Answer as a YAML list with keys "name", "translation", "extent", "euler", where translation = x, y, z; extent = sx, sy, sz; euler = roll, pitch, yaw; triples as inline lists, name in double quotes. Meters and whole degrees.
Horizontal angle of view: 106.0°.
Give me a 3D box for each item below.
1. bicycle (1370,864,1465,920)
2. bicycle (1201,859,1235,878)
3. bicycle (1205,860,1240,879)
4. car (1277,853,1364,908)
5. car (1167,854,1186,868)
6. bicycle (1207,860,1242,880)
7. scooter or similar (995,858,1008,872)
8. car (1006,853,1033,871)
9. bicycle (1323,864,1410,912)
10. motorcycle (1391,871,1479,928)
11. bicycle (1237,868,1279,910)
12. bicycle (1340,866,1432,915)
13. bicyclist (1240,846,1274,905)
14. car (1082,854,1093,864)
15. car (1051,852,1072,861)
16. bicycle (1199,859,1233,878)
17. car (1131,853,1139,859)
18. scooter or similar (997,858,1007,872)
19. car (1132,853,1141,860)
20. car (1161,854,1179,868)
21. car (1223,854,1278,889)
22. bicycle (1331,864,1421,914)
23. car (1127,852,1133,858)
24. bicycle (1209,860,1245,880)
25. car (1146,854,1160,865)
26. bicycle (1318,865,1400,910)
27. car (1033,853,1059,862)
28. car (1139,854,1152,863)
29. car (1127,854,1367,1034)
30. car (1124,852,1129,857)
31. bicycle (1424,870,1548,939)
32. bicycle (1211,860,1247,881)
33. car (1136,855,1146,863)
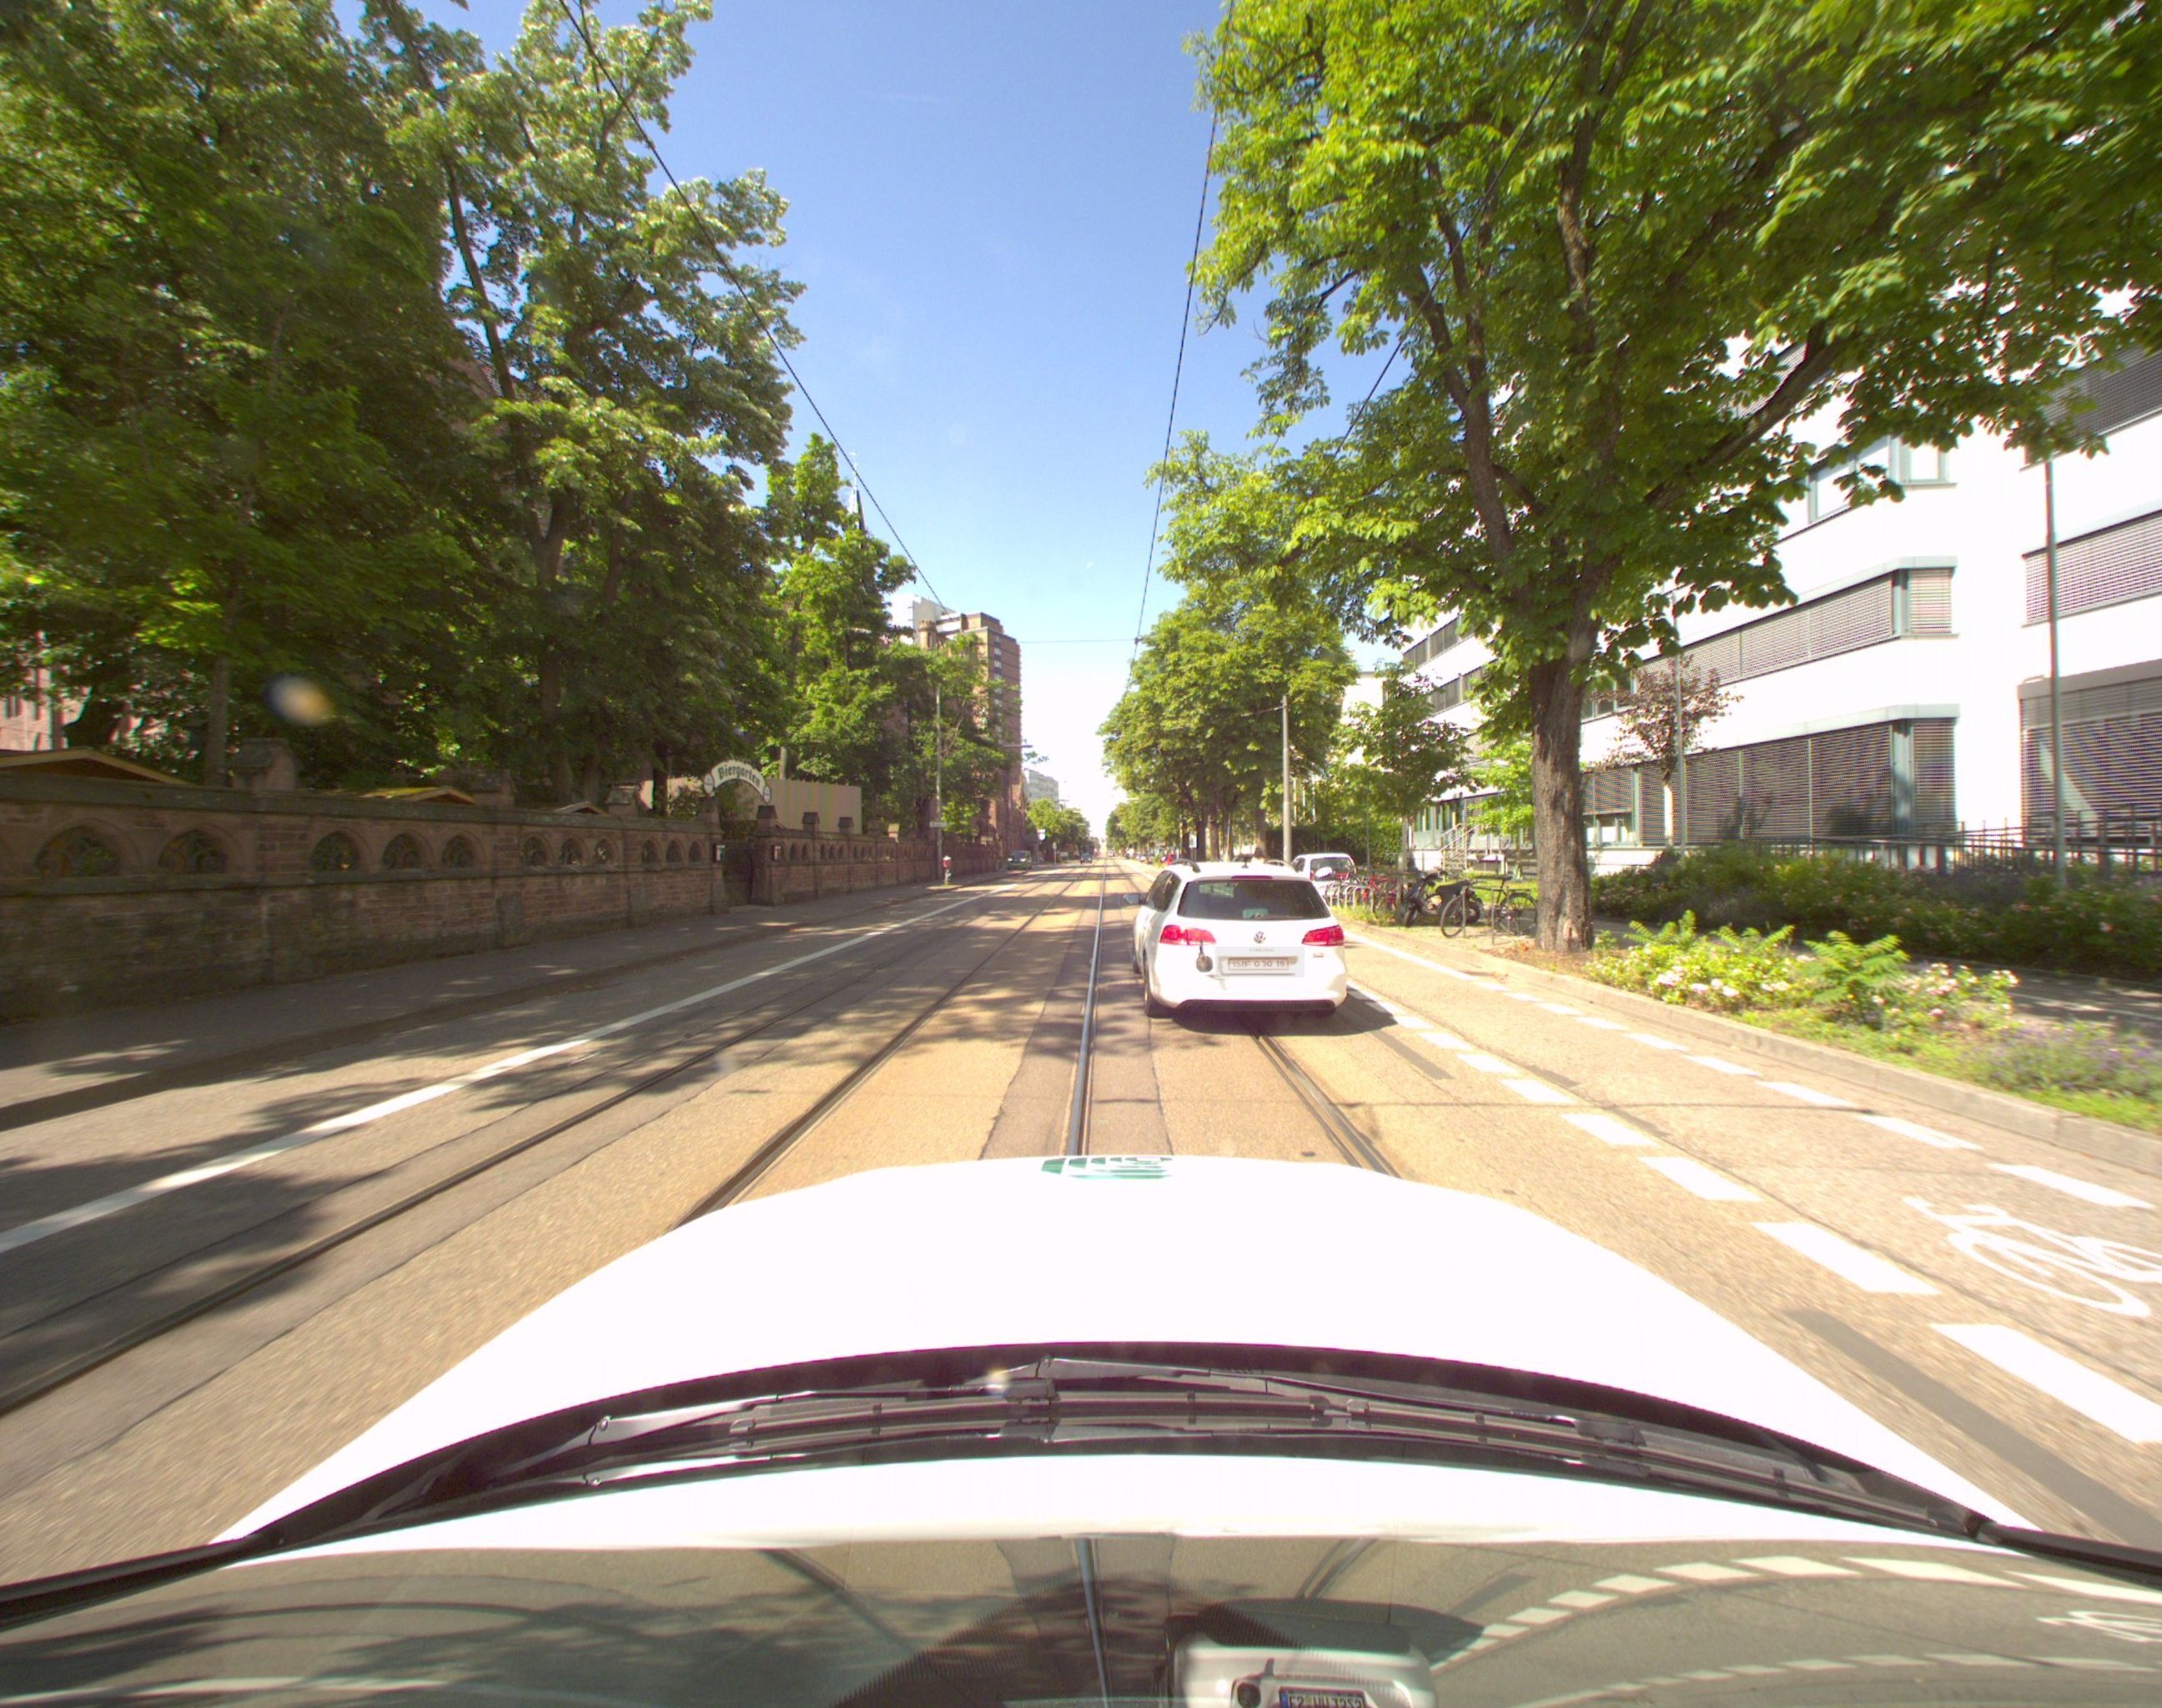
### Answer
- name: "bicycle"
  translation: [7.145, 0.799, 17.349]
  extent: [1.769, 1.120, 0.596]
  euler: [-1, 0, -1]
- name: "bicycle"
  translation: [7.585, 0.815, 45.138]
  extent: [1.783, 1.010, 0.487]
  euler: [-1, 0, -4]
- name: "bicycle"
  translation: [7.601, 0.825, 43.864]
  extent: [1.783, 1.010, 0.487]
  euler: [-1, 0, -4]
- name: "car"
  translation: [7.039, 0.723, 24.311]
  extent: [1.584, 1.451, 3.948]
  euler: [-1, 0, 2]
- name: "car"
  translation: [8.841, 0.647, 75.635]
  extent: [1.705, 1.280, 3.849]
  euler: [-1, 0, 6]
- name: "bicycle"
  translation: [7.627, 0.831, 43.280]
  extent: [1.783, 1.010, 0.487]
  euler: [-1, 0, -4]
- name: "scooter or similar"
  translation: [-6.675, 0.904, 68.116]
  extent: [0.400, 1.155, 1.150]
  euler: [-1, 0, 36]
- name: "car"
  translation: [-6.341, 0.762, 84.395]
  extent: [1.984, 1.757, 4.717]
  euler: [-1, 0, 4]
- name: "bicycle"
  translation: [6.935, 0.824, 19.815]
  extent: [1.906, 1.083, 0.550]
  euler: [2, 0, -1]
- name: "motorcycle"
  translation: [6.840, 0.871, 15.759]
  extent: [1.461, 1.046, 0.534]
  euler: [-1, 0, -1]
- name: "bicycle"
  translation: [4.960, 0.965, 22.934]
  extent: [0.807, 1.078, 2.013]
  euler: [0, 0, 2]
- name: "bicycle"
  translation: [6.958, 0.824, 18.602]
  extent: [1.906, 1.083, 0.550]
  euler: [1, 0, -1]
- name: "bicyclist"
  translation: [4.983, 0.590, 23.066]
  extent: [0.783, 1.629, 0.738]
  euler: [-1, 0, 2]
- name: "car"
  translation: [0.964, 0.674, 120.280]
  extent: [1.487, 1.384, 3.645]
  euler: [-1, 0, 3]
- name: "car"
  translation: [-4.241, 0.506, 176.687]
  extent: [4.016, 1.816, 1.979]
  euler: [-1, 0, -34]
- name: "bicycle"
  translation: [7.564, 0.811, 45.658]
  extent: [1.783, 1.010, 0.487]
  euler: [-1, 0, -4]
- name: "car"
  translation: [11.995, 0.466, 181.388]
  extent: [1.706, 1.401, 3.845]
  euler: [-1, 0, 3]
- name: "scooter or similar"
  translation: [-6.936, 0.925, 71.398]
  extent: [0.419, 1.200, 1.148]
  euler: [-1, 0, 17]
- name: "car"
  translation: [11.551, 0.509, 170.156]
  extent: [1.706, 1.401, 3.845]
  euler: [-1, 0, 3]
- name: "car"
  translation: [9.294, 0.683, 85.525]
  extent: [1.706, 1.401, 3.847]
  euler: [-1, 0, 4]
- name: "car"
  translation: [7.493, 0.731, 36.411]
  extent: [1.658, 1.444, 4.636]
  euler: [-1, 0, 2]
- name: "bicycle"
  translation: [6.936, 0.817, 19.202]
  extent: [1.906, 1.083, 0.550]
  euler: [2, 0, -1]
- name: "car"
  translation: [12.726, 0.314, 211.764]
  extent: [1.706, 1.401, 3.845]
  euler: [-1, 0, 3]
- name: "bicycle"
  translation: [7.634, 0.835, 42.703]
  extent: [1.783, 1.010, 0.487]
  euler: [-1, 0, -4]
- name: "car"
  translation: [9.459, 0.710, 107.077]
  extent: [1.706, 1.401, 3.845]
  euler: [-1, 0, 3]
- name: "bicycle"
  translation: [6.971, 0.838, 20.456]
  extent: [1.880, 1.083, 0.550]
  euler: [1, 0, -1]
- name: "car"
  translation: [-6.134, 0.673, 143.431]
  extent: [4.130, 1.530, 1.920]
  euler: [1, 0, -20]
- name: "car"
  translation: [9.874, 0.655, 124.928]
  extent: [1.707, 1.401, 3.844]
  euler: [-1, 0, 1]
- name: "car"
  translation: [1.469, 0.738, 8.792]
  extent: [1.747, 1.442, 4.413]
  euler: [0, 0, 1]
- name: "car"
  translation: [13.701, 0.077, 245.492]
  extent: [1.706, 1.401, 3.845]
  euler: [-1, 0, 3]
- name: "bicycle"
  translation: [6.740, 0.828, 13.607]
  extent: [1.769, 1.083, 0.596]
  euler: [-1, 0, -1]
- name: "bicycle"
  translation: [7.646, 0.840, 42.119]
  extent: [1.783, 1.010, 0.487]
  euler: [-1, 0, -4]
- name: "car"
  translation: [11.085, 0.990, 150.396]
  extent: [1.706, 1.401, 3.845]
  euler: [-1, 0, 3]
